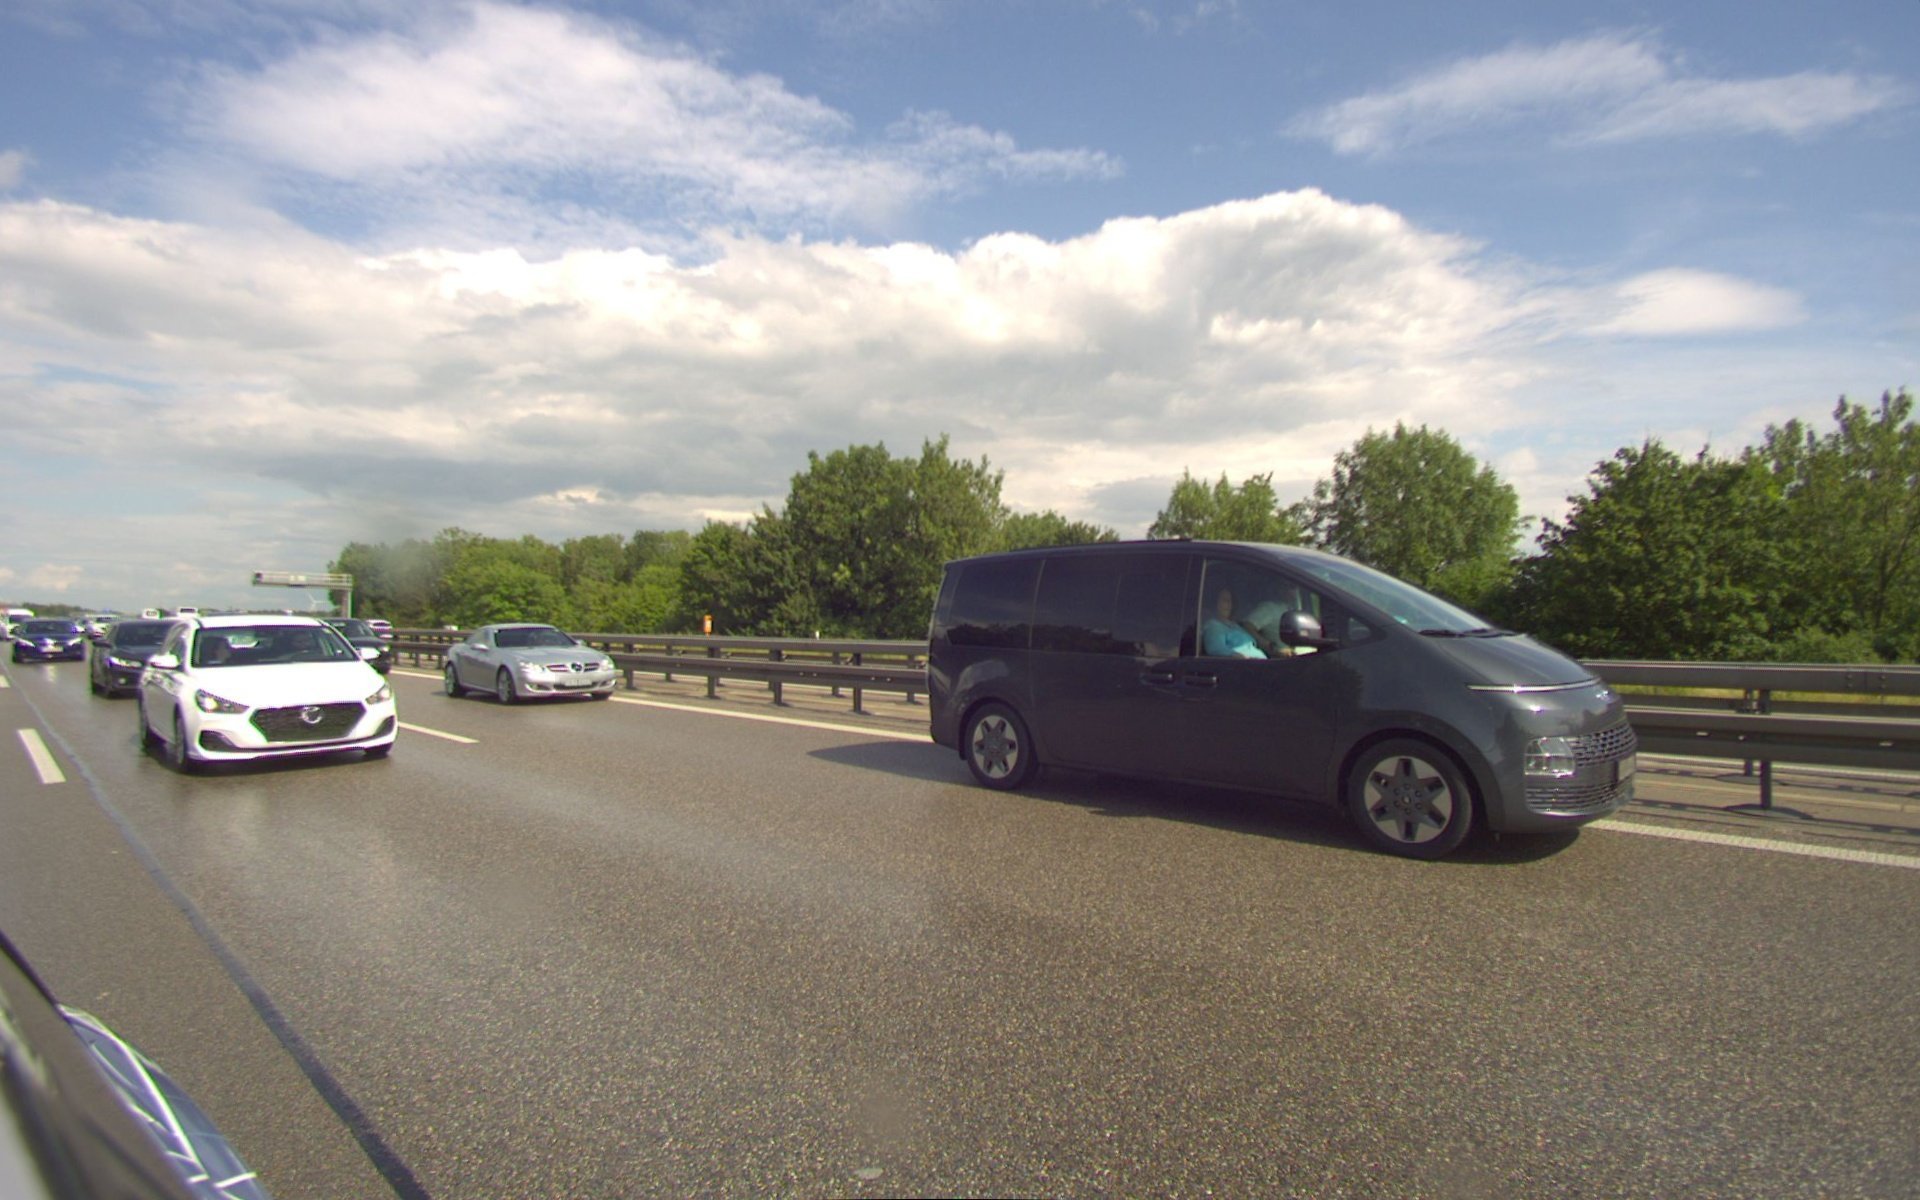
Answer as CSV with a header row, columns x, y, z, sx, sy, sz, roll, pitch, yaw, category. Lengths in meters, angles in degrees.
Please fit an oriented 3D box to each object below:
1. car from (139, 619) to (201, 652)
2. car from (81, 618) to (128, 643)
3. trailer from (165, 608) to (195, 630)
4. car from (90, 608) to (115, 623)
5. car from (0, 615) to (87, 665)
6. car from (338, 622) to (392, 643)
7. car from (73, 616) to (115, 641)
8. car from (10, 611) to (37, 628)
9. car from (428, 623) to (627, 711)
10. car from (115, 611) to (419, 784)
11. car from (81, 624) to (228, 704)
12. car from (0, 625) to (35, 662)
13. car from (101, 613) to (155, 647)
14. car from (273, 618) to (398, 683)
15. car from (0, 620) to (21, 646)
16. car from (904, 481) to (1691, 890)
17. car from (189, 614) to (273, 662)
x,y,z,sx,sy,sz,roll,pitch,yaw,category
-36.752,1.623,47.035,4.001,1.389,1.747,0,0,44,car
-56.775,1.997,67.116,4.001,1.490,1.971,0,1,44,car
-121.524,2.978,157.620,2.698,3.407,9.568,0,-1,-44,trailer
-104.543,1.867,123.378,4.463,1.792,1.971,-1,-1,45,car
-30.828,1.288,33.952,4.001,1.497,1.971,0,1,44,car
-44.641,2.390,75.911,5.036,1.498,2.094,-1,-1,42,car
-63.524,2.066,74.185,4.001,1.710,1.971,0,1,44,car
-106.183,2.198,114.759,4.001,1.710,1.971,0,1,44,car
-7.428,1.054,17.191,4.065,1.288,1.705,-1,-1,44,car
-7.597,0.872,10.895,4.549,1.466,1.860,-1,-1,44,car
-15.601,1.159,19.525,4.289,1.348,1.705,-1,-1,44,car
-42.239,1.903,44.566,4.001,1.490,1.971,0,1,44,car
-47.818,1.704,58.148,4.001,1.761,1.971,0,1,44,car
-15.513,1.187,25.049,1.746,1.436,4.141,-1,0,-45,car
-61.226,2.088,64.341,4.001,1.490,1.971,0,1,44,car
2.080,0.468,7.583,5.271,2.029,1.971,-1,-1,44,car
-26.204,1.325,36.338,1.849,1.618,4.231,0,-1,-45,car
